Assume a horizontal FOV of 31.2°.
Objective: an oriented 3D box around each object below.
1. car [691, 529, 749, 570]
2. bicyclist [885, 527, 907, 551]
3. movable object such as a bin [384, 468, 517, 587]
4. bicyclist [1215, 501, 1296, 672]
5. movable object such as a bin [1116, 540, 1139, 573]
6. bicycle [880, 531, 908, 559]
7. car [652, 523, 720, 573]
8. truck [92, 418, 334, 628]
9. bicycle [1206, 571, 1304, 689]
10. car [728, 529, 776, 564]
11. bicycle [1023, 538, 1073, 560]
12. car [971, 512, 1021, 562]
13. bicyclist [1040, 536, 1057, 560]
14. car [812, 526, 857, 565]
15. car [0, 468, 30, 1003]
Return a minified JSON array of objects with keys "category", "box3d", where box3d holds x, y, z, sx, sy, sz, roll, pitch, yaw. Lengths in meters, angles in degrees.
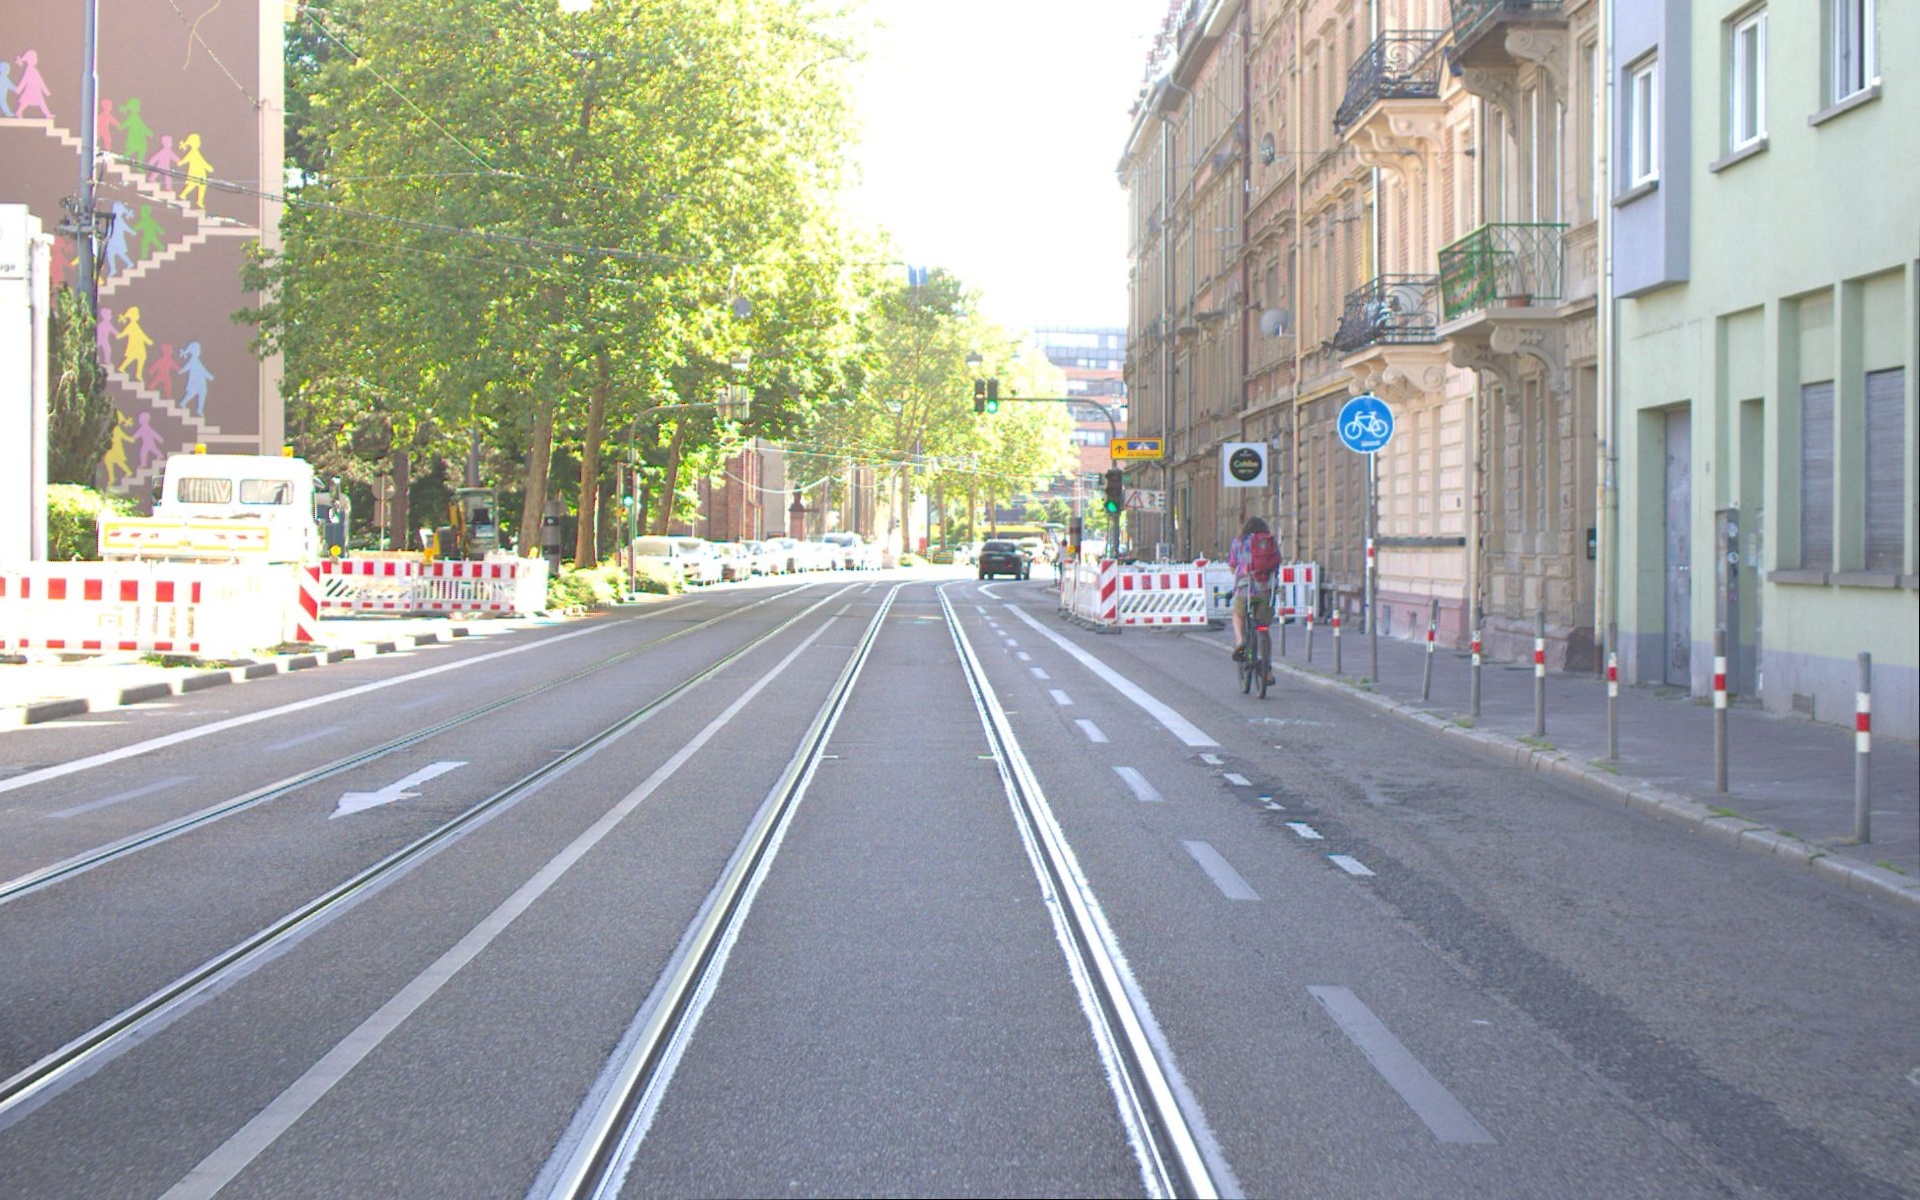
[{"category":"car","box3d":[-9.159,-1.924,131.687,1.748,1.504,4.043,2,1,2]},{"category":"bicyclist","box3d":[-3.826,-3.648,205.526,1.078,1.423,1.146,2,0,8]},{"category":"movable object such as a bin","box3d":[-12.070,-1.722,81.849,2.495,2.636,5.990,2,1,-3]},{"category":"bicyclist","box3d":[2.994,-0.141,34.892,0.667,1.691,1.043,2,0,-1]},{"category":"movable object such as a bin","box3d":[5.401,-1.409,110.893,0.673,1.032,0.813,0,2,0]},{"category":"bicycle","box3d":[-3.928,-3.293,205.574,1.234,1.567,2.896,2,1,7]},{"category":"car","box3d":[-9.239,-1.748,116.154,1.748,1.602,4.043,2,1,2]},{"category":"truck","box3d":[-10.934,-1.103,50.821,2.537,2.820,6.377,2,1,-4]},{"category":"bicycle","box3d":[2.978,0.281,34.949,0.681,1.110,2.707,2,1,-1]},{"category":"car","box3d":[-9.340,-2.392,154.632,1.748,1.490,4.043,2,1,2]},{"category":"bicycle","box3d":[5.344,-3.090,208.894,2.889,1.227,0.883,2,0,10]},{"category":"car","box3d":[1.505,-2.616,144.042,1.993,2.007,4.000,2,1,0]},{"category":"bicyclist","box3d":[5.383,-3.159,208.871,0.899,1.423,1.053,2,0,8]},{"category":"car","box3d":[-6.746,-2.933,185.439,2.058,2.045,4.043,2,1,2]},{"category":"car","box3d":[-3.909,0.422,8.972,1.759,1.691,4.144,2,1,1]}]
